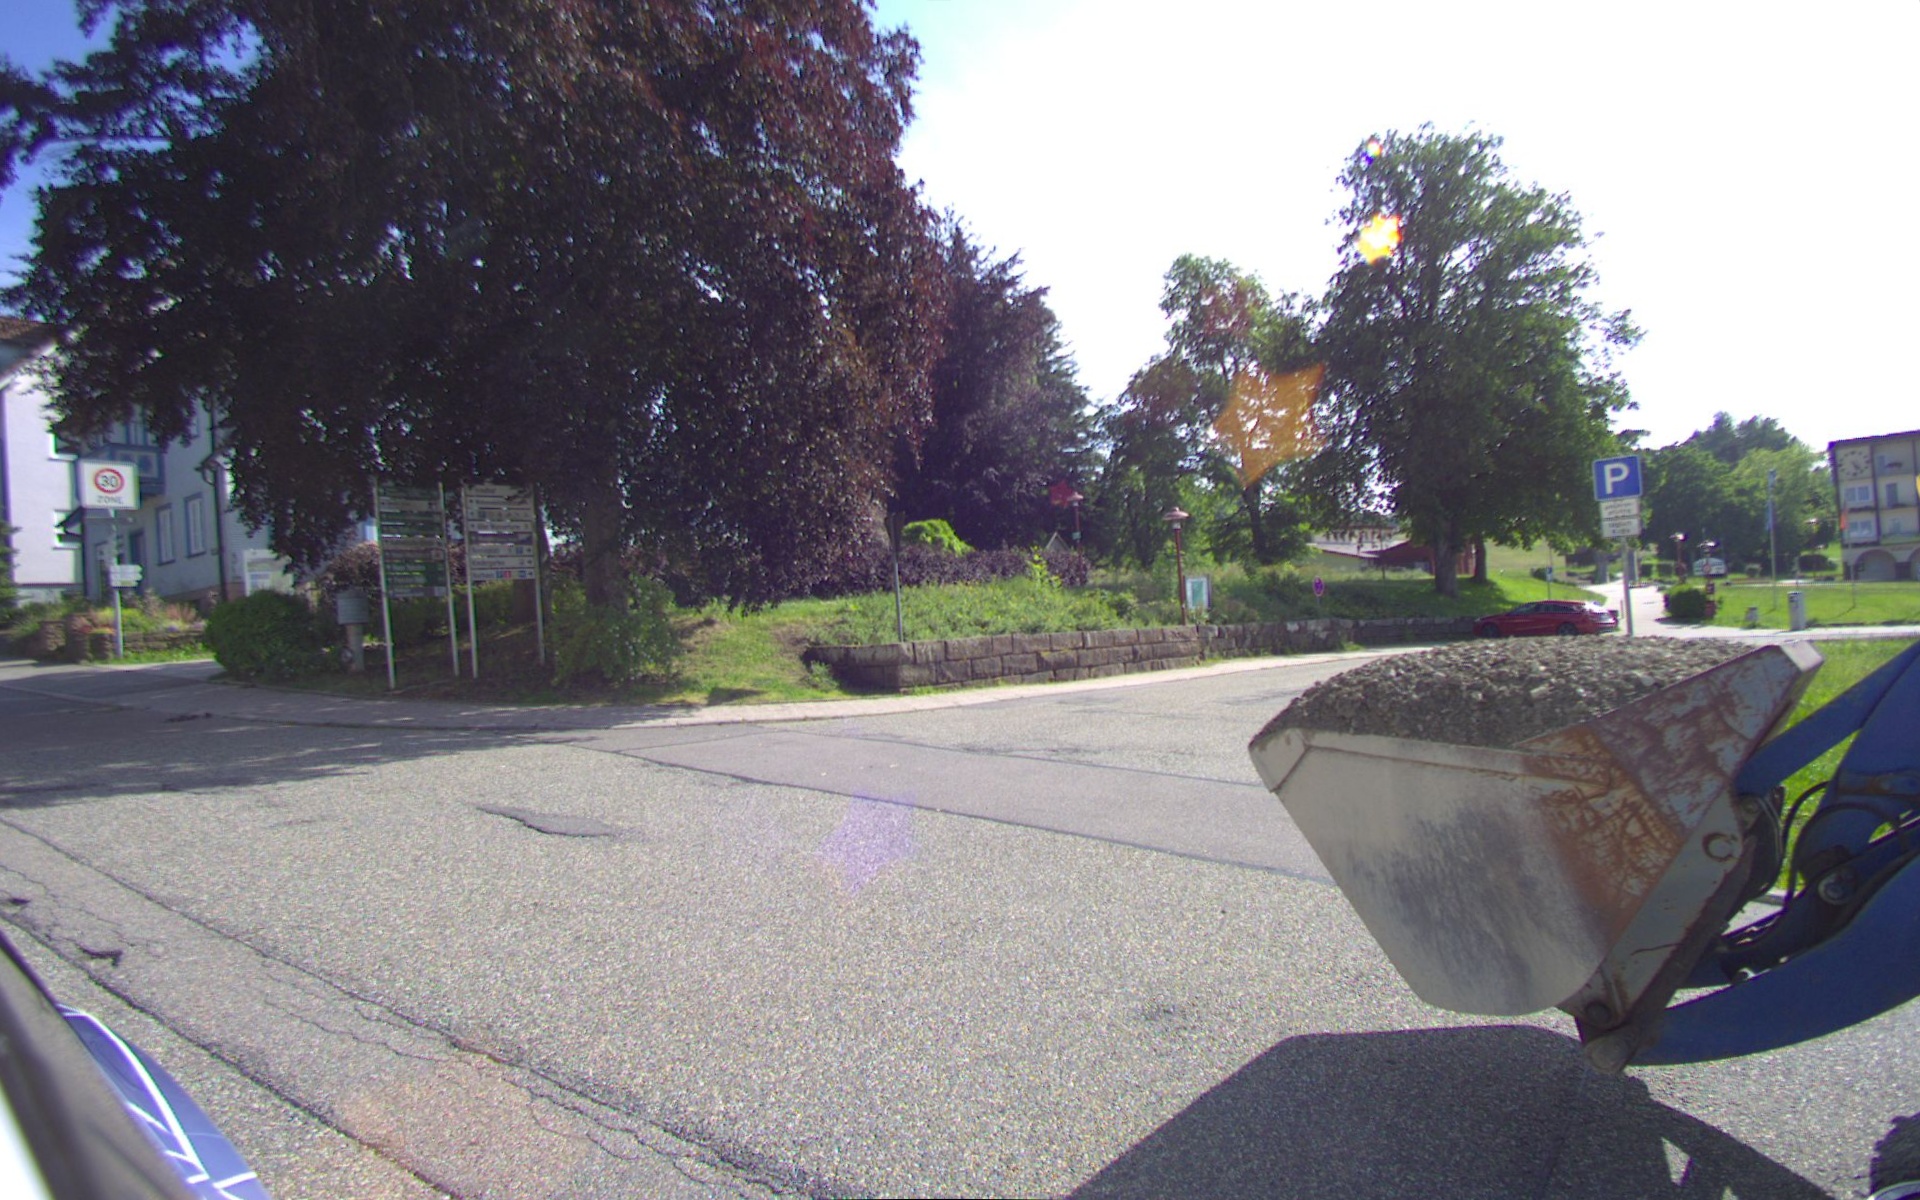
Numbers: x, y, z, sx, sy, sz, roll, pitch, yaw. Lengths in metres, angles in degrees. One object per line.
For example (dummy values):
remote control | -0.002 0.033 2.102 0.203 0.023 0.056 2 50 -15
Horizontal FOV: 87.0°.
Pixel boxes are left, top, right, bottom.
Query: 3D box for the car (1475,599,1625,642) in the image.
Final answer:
car | 20.980 0.728 36.144 1.793 1.409 4.250 -1 -1 -32

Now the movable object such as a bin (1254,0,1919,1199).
movable object such as a bin | 3.264 -0.059 1.484 1.970 2.790 5.110 0 -2 -43
